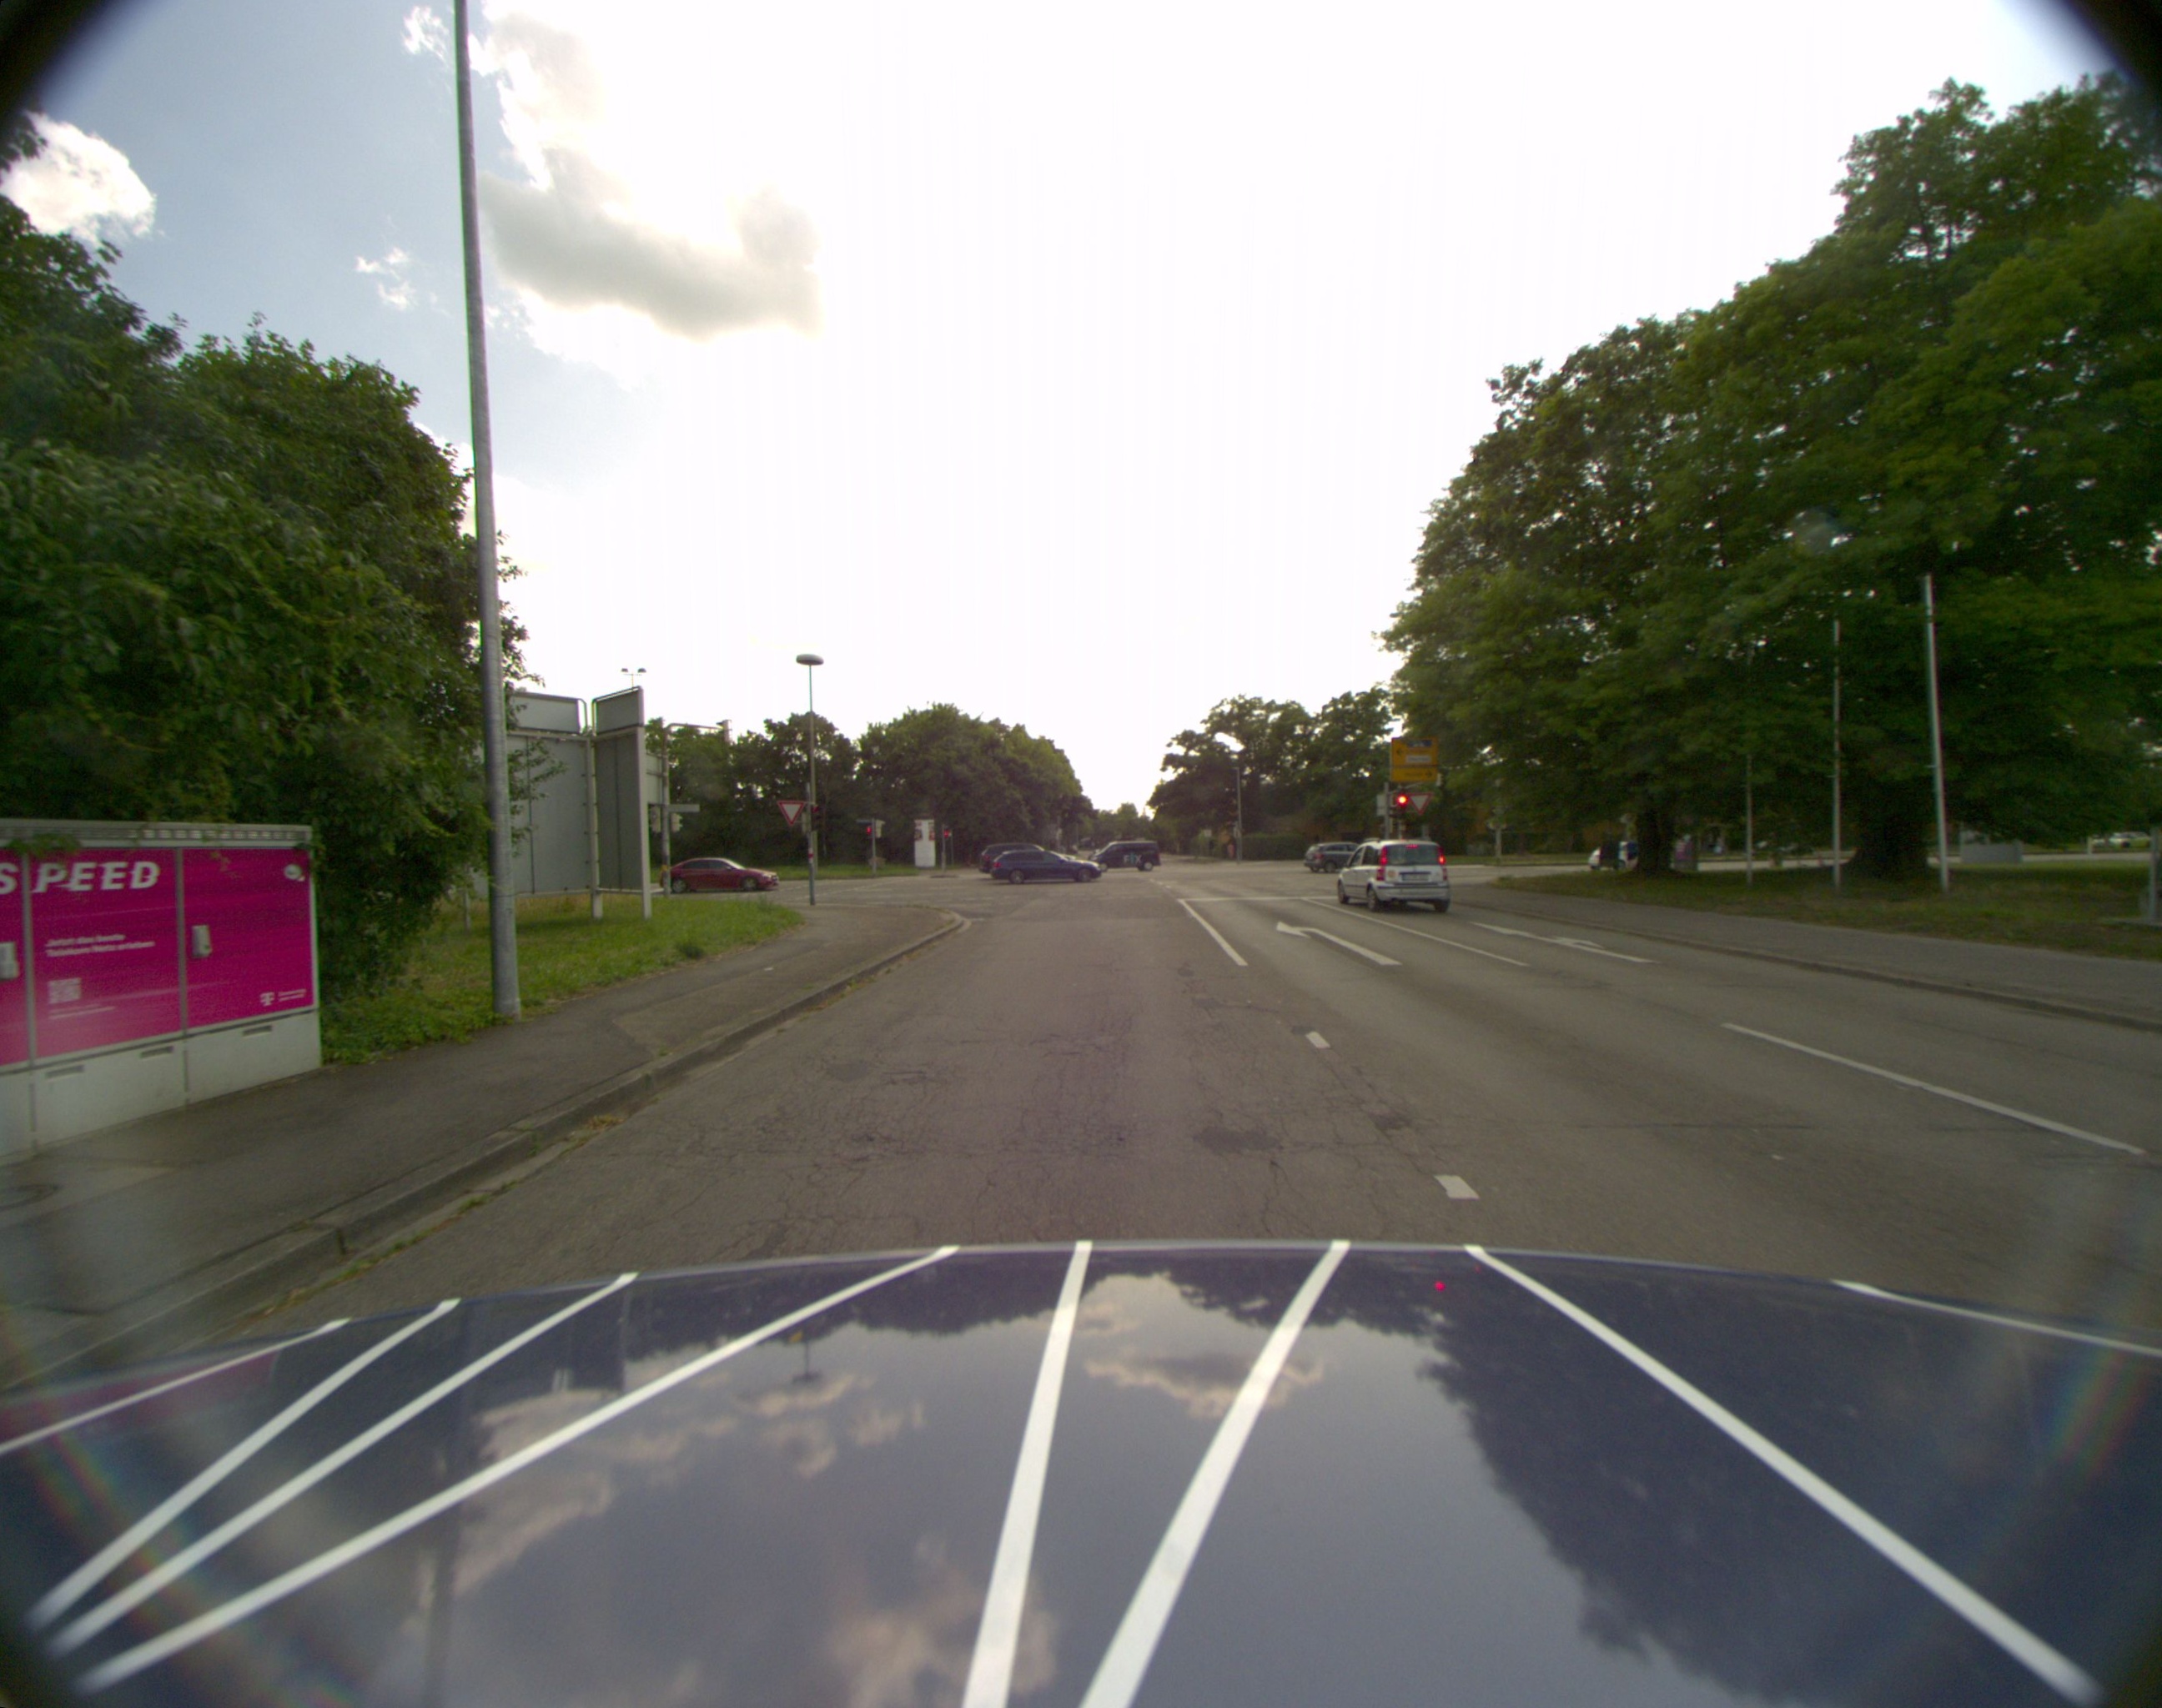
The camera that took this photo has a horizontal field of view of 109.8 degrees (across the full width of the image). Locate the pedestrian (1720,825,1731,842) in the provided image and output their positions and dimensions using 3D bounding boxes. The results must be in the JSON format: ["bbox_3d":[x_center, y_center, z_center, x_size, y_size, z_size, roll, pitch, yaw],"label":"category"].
[{"bbox_3d":[57.959,-1.876,68.315,0.421,1.488,0.570,-2,4,-24],"label":"pedestrian"}]

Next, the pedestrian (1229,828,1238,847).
[{"bbox_3d":[14.417,-1.542,71.802,0.691,1.732,0.706,-1,1,19],"label":"pedestrian"}]

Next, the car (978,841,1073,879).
[{"bbox_3d":[-2.772,0.254,37.801,4.550,1.736,1.816,-1,2,-10],"label":"car"}]

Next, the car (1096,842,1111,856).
[{"bbox_3d":[2.516,-0.610,85.125,1.729,1.421,3.998,0,3,1],"label":"car"}]

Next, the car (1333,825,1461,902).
[{"bbox_3d":[6.907,0.156,16.997,1.557,1.508,3.609,-1,1,4],"label":"car"}]

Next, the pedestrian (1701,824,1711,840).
[{"bbox_3d":[58.084,-2.042,70.602,0.421,1.488,0.570,-2,4,-24],"label":"pedestrian"}]

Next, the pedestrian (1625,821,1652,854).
[{"bbox_3d":[25.698,-0.756,35.042,0.760,1.523,0.726,-2,2,-25],"label":"pedestrian"}]

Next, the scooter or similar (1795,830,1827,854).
[{"bbox_3d":[30.194,-0.502,31.419,1.272,0.974,0.221,-1,1,-9],"label":"scooter or similar"}]

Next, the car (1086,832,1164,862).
[{"bbox_3d":[2.907,-0.472,50.347,4.817,1.846,1.769,-2,1,-9],"label":"car"}]

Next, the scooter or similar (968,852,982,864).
[{"bbox_3d":[-8.596,0.352,61.630,1.036,0.937,0.296,0,4,-3],"label":"scooter or similar"}]

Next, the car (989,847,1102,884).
[{"bbox_3d":[-1.623,0.491,34.106,4.873,1.489,1.800,-1,3,-10],"label":"car"}]

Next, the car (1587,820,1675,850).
[{"bbox_3d":[28.425,-0.978,39.295,3.539,1.488,1.573,-1,1,-6],"label":"car"}]

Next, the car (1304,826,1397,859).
[{"bbox_3d":[14.168,-0.638,40.067,4.360,1.610,1.702,-1,2,-9],"label":"car"}]

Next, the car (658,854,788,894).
[{"bbox_3d":[-14.839,0.795,31.705,4.535,1.455,1.726,-1,3,-9],"label":"car"}]
